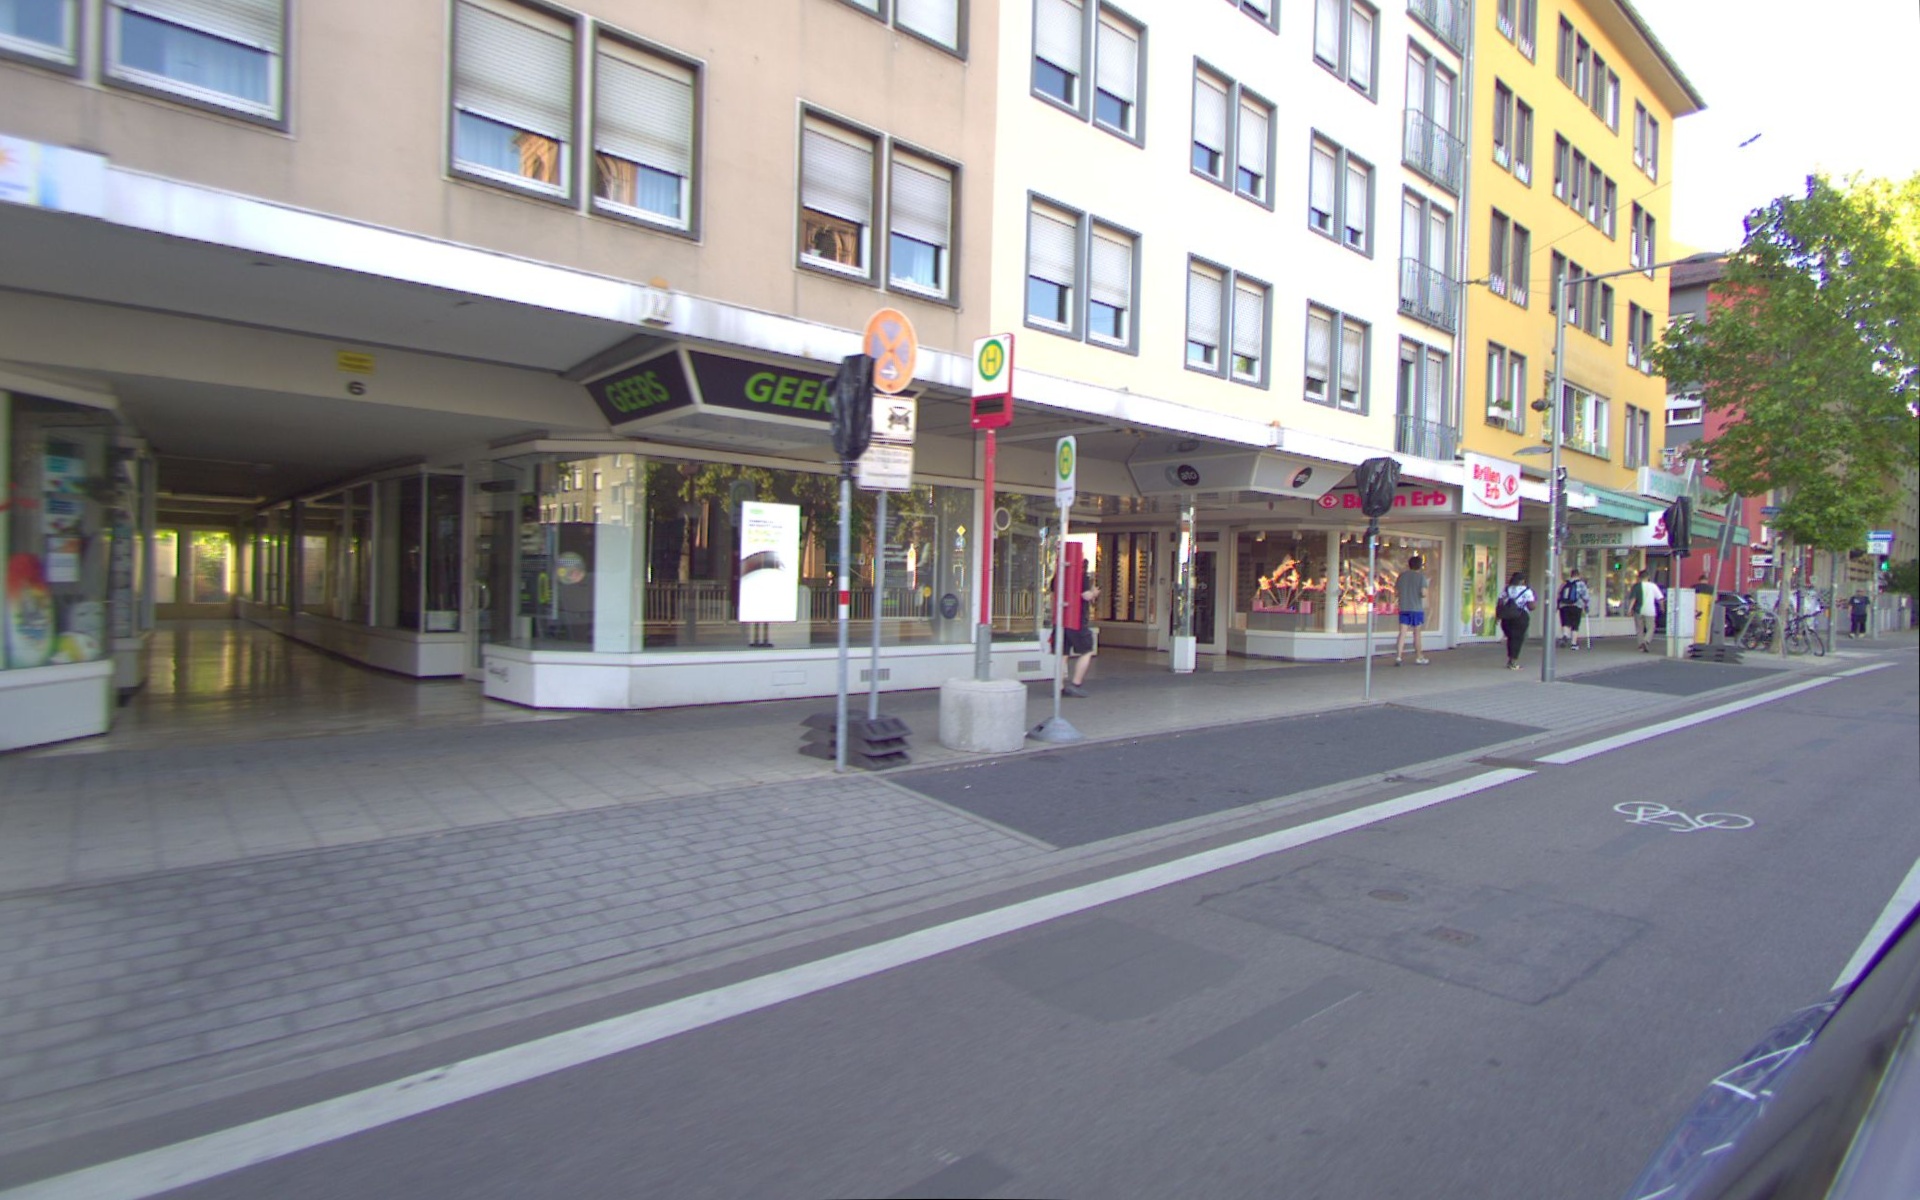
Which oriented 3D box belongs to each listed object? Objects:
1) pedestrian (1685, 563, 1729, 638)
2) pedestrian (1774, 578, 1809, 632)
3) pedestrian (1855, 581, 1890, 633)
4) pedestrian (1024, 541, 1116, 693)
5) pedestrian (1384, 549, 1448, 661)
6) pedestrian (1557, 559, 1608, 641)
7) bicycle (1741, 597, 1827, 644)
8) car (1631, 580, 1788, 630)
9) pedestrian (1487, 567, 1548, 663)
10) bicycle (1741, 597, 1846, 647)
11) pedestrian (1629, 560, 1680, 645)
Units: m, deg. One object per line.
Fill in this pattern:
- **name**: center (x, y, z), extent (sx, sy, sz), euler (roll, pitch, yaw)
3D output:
- **pedestrian**: center (18.636, 0.010, 25.241), extent (0.753, 1.829, 0.725), euler (0, 1, -41)
- **pedestrian**: center (28.155, 0.157, 34.264), extent (0.879, 1.802, 0.745), euler (1, 0, -41)
- **pedestrian**: center (31.584, 0.224, 35.032), extent (0.801, 1.731, 0.728), euler (0, 4, -40)
- **pedestrian**: center (1.246, 0.172, 11.483), extent (0.753, 1.653, 0.725), euler (0, 1, -41)
- **pedestrian**: center (7.801, 0.067, 17.316), extent (0.753, 1.863, 0.725), euler (0, 1, -41)
- **pedestrian**: center (13.458, -0.012, 21.879), extent (0.753, 1.745, 0.725), euler (0, 1, -41)
- **bicycle**: center (19.071, 0.453, 23.448), extent (0.446, 1.021, 1.484), euler (0, 1, -43)
- **car**: center (27.530, 0.125, 37.291), extent (1.741, 1.707, 4.350), euler (0, 1, -40)
- **pedestrian**: center (9.532, 0.242, 17.304), extent (0.835, 1.598, 0.612), euler (0, 1, -37)
- **bicycle**: center (19.551, 0.498, 23.771), extent (0.532, 1.020, 1.801), euler (0, 3, -43)
- **pedestrian**: center (15.086, 0.039, 21.986), extent (0.753, 1.801, 0.725), euler (0, 1, -41)
